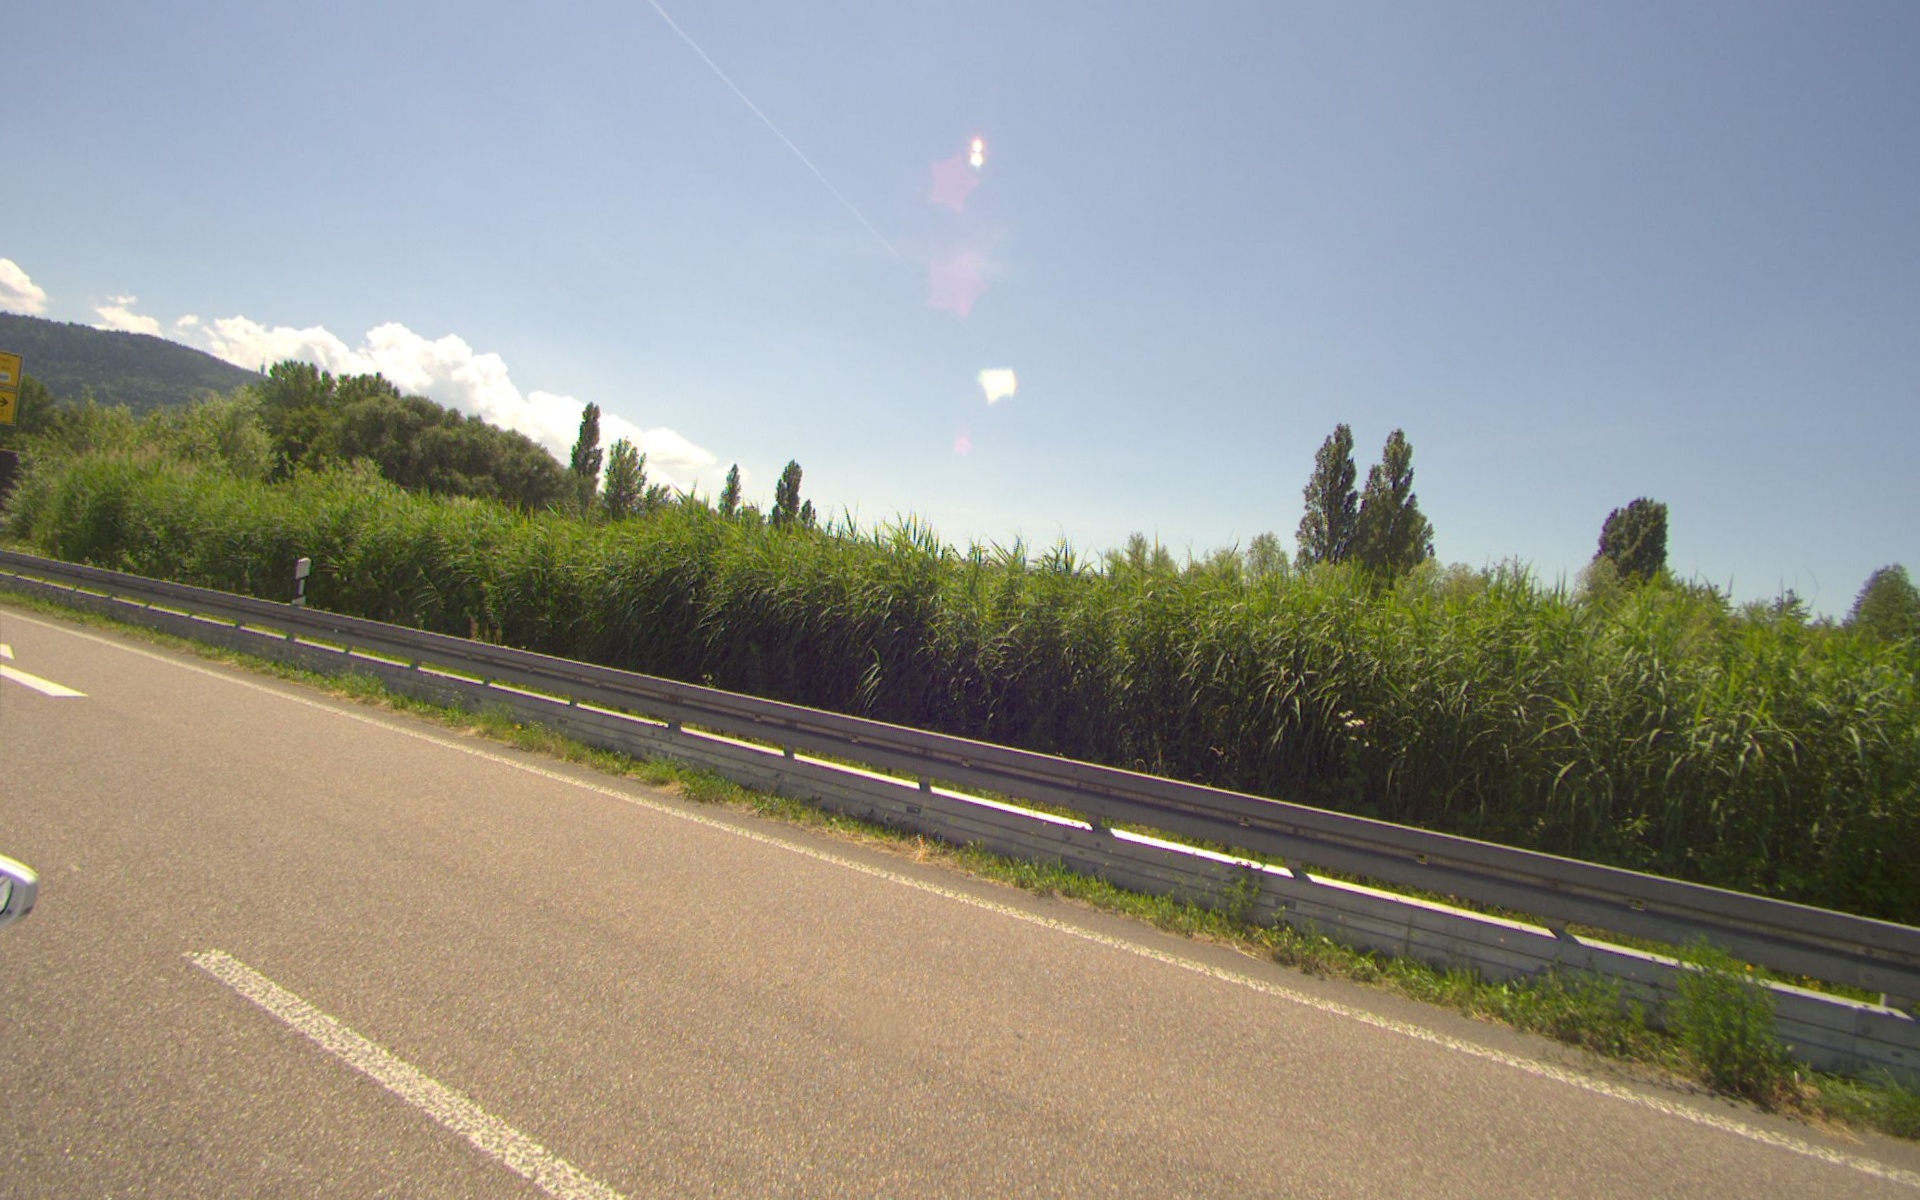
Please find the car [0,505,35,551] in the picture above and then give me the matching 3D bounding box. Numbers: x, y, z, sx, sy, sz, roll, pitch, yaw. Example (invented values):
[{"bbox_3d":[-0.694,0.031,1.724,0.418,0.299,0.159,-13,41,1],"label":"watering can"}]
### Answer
[{"bbox_3d":[-39.529,-3.113,39.409,1.966,1.675,4.320,6,-2,29],"label":"car"}]
